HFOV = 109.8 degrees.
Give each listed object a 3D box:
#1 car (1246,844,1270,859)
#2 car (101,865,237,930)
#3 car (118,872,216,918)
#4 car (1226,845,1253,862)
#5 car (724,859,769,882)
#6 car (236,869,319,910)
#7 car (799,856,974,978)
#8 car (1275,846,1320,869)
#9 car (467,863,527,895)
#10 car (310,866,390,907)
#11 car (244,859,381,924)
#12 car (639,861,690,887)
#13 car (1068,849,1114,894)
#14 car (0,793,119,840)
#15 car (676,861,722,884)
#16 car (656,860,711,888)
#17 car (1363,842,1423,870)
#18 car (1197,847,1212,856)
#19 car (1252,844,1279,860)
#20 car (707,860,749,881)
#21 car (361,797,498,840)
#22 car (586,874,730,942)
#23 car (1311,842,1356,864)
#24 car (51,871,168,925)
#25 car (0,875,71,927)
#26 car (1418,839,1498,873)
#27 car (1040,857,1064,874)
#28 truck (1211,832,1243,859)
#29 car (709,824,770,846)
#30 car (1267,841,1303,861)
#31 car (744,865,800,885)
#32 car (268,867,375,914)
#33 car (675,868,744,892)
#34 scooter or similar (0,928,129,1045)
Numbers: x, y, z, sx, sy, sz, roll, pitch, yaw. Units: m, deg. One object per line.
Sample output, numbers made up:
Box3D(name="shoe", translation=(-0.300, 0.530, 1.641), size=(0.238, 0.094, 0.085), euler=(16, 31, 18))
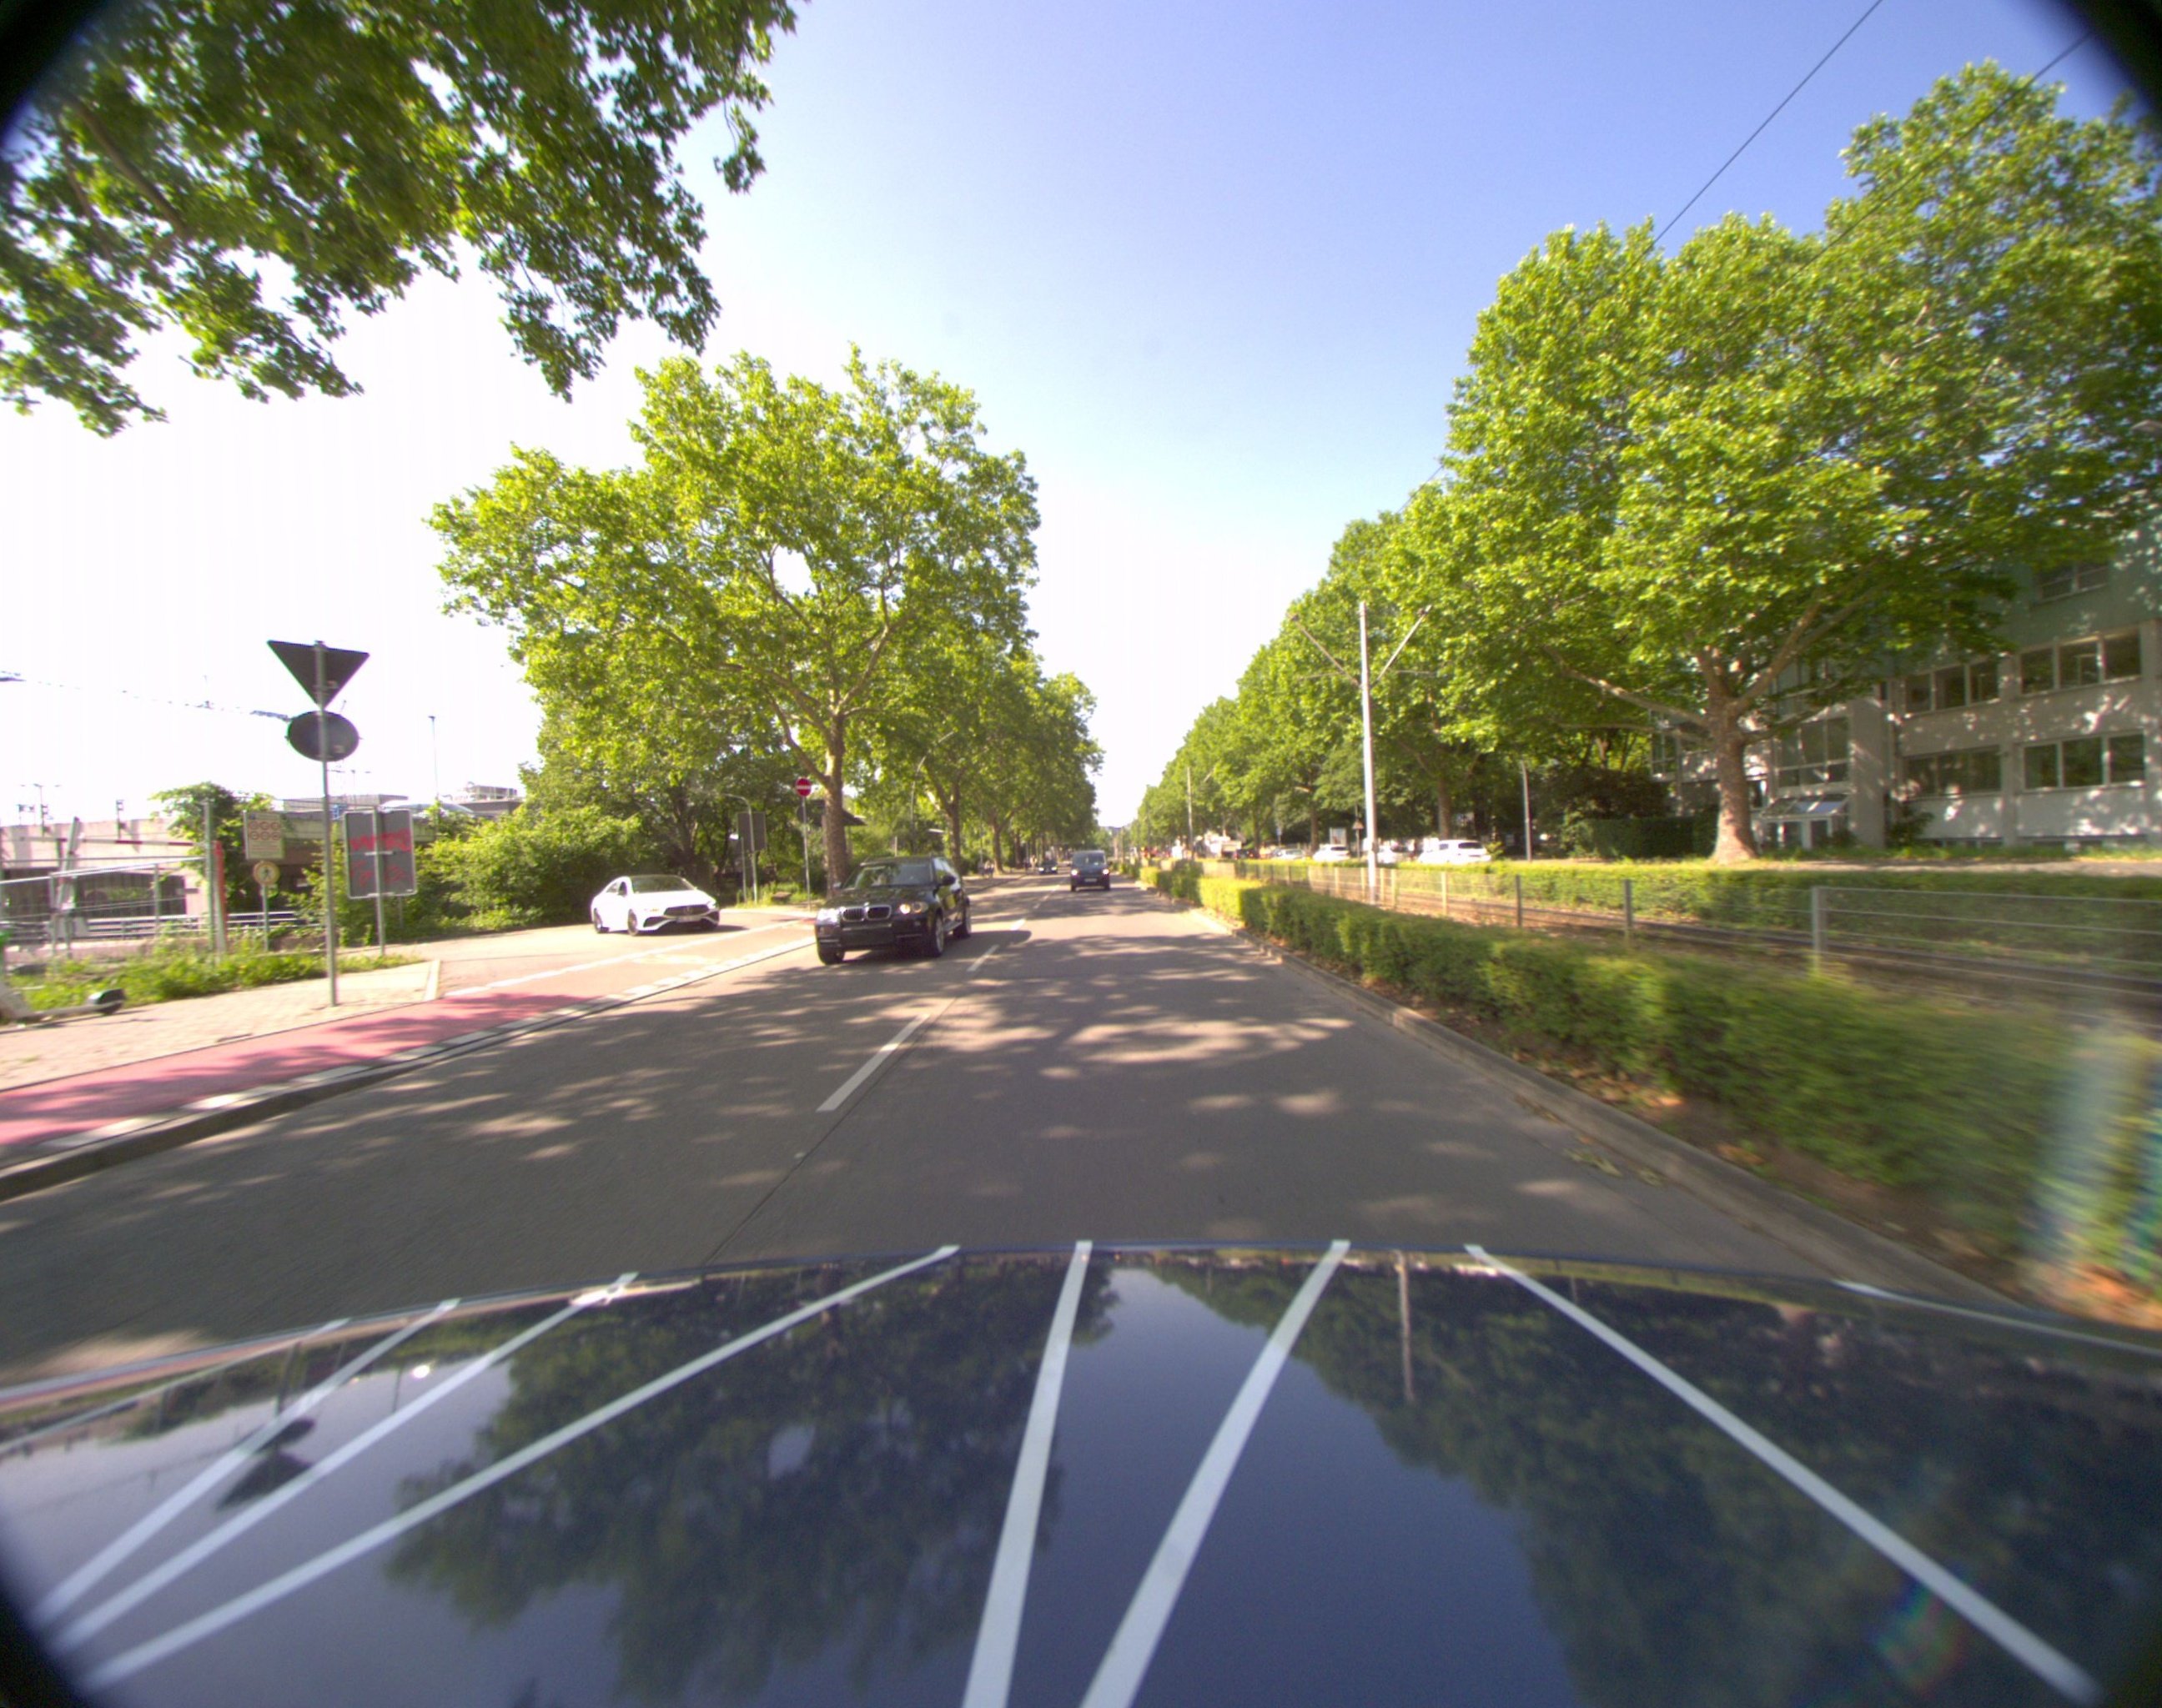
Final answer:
Box3D(name="car", translation=(19.114, -0.258, 82.238), size=(1.752, 1.445, 3.865), euler=(-3, 0, 1))
Box3D(name="car", translation=(-42.715, 2.004, 35.663), size=(3.997, 2.723, 1.809), euler=(-3, 0, -1))
Box3D(name="car", translation=(-59.325, 2.633, 49.375), size=(3.997, 2.723, 1.809), euler=(-3, 0, -1))
Box3D(name="car", translation=(15.412, -0.056, 74.049), size=(1.701, 1.406, 3.892), euler=(-5, 0, 1))
Box3D(name="car", translation=(-36.876, 1.767, 83.847), size=(3.997, 2.308, 1.809), euler=(-3, 0, -1))
Box3D(name="car", translation=(-59.473, 2.611, 56.275), size=(3.997, 2.723, 1.809), euler=(-3, 0, -1))
Box3D(name="car", translation=(-3.269, 0.966, 13.713), size=(1.924, 1.720, 4.151), euler=(-4, 0, 1))
Box3D(name="car", translation=(14.638, 0.217, 51.601), size=(1.860, 1.445, 4.000), euler=(-3, 0, 1))
Box3D(name="car", translation=(-53.893, 2.321, 70.184), size=(3.997, 2.723, 1.809), euler=(-3, 0, -1))
Box3D(name="car", translation=(-54.151, 2.389, 56.354), size=(3.997, 2.723, 1.809), euler=(-3, 0, -1))
Box3D(name="car", translation=(-35.854, 1.727, 35.531), size=(4.375, 2.723, 1.809), euler=(-3, 0, -1))
Box3D(name="car", translation=(-42.111, 2.013, 76.910), size=(3.997, 2.308, 1.809), euler=(-3, 0, -1))
Box3D(name="car", translation=(0.507, 0.708, 33.982), size=(1.789, 1.839, 4.001), euler=(-2, 0, 3))
Box3D(name="car", translation=(-39.898, -1.420, 28.981), size=(3.997, 1.501, 1.809), euler=(-3, 0, -1))
Box3D(name="car", translation=(-42.095, 1.984, 83.705), size=(3.997, 2.308, 1.809), euler=(-3, 0, -1))
Box3D(name="car", translation=(-36.588, 1.813, 69.952), size=(3.997, 2.308, 1.809), euler=(-3, 0, -1))
Box3D(name="car", translation=(18.221, 0.113, 44.547), size=(1.856, 1.445, 4.000), euler=(-3, 0, 1))
Box3D(name="car", translation=(19.495, -0.402, 120.469), size=(1.752, 1.445, 3.865), euler=(-3, 0, 1))
Box3D(name="car", translation=(17.914, -0.167, 73.894), size=(1.701, 1.406, 3.892), euler=(-5, 0, 1))
Box3D(name="car", translation=(-42.104, 1.955, 90.607), size=(3.997, 2.308, 1.809), euler=(-3, 0, -1))
Box3D(name="car", translation=(-26.791, -1.433, 31.352), size=(3.997, 1.501, 1.809), euler=(-3, 0, -1))
Box3D(name="car", translation=(-10.502, 1.278, 18.749), size=(3.989, 1.400, 1.900), euler=(-3, 0, 43))
Box3D(name="car", translation=(18.177, -0.097, 54.879), size=(1.860, 1.445, 4.000), euler=(-3, 0, 1))
Box3D(name="car", translation=(-54.315, 2.454, 42.537), size=(3.997, 2.723, 1.809), euler=(-3, 0, -1))
Box3D(name="car", translation=(-59.631, 2.676, 42.385), size=(3.997, 2.723, 1.809), euler=(-3, 0, -1))
Box3D(name="car", translation=(17.386, 0.086, 35.243), size=(1.819, 1.482, 3.913), euler=(-1, 0, 1))
Box3D(name="car", translation=(-2.830, 1.115, 74.764), size=(1.854, 1.418, 4.152), euler=(-3, 0, 3))
Box3D(name="truck", translation=(18.417, -1.056, 96.345), size=(2.751, 3.259, 6.541), euler=(-3, 0, 1))
Box3D(name="car", translation=(-27.213, -1.538, 60.578), size=(3.997, 1.501, 1.809), euler=(-3, 0, -1))
Box3D(name="car", translation=(17.007, -0.258, 63.503), size=(1.860, 1.572, 4.000), euler=(-3, 0, 1))
Box3D(name="car", translation=(-26.765, 1.826, 65.915), size=(3.997, 1.501, 1.809), euler=(-3, 0, -1))
Box3D(name="car", translation=(-42.534, 2.021, 42.607), size=(3.997, 2.308, 1.809), euler=(-3, 0, -1))
Box3D(name="car", translation=(-26.641, 1.869, 54.623), size=(3.997, 1.501, 1.809), euler=(-3, 0, -1))
Box3D(name="scooter or similar", translation=(-11.423, 1.434, 8.324), size=(0.483, 1.115, 1.128), euler=(-3, 0, 2))
